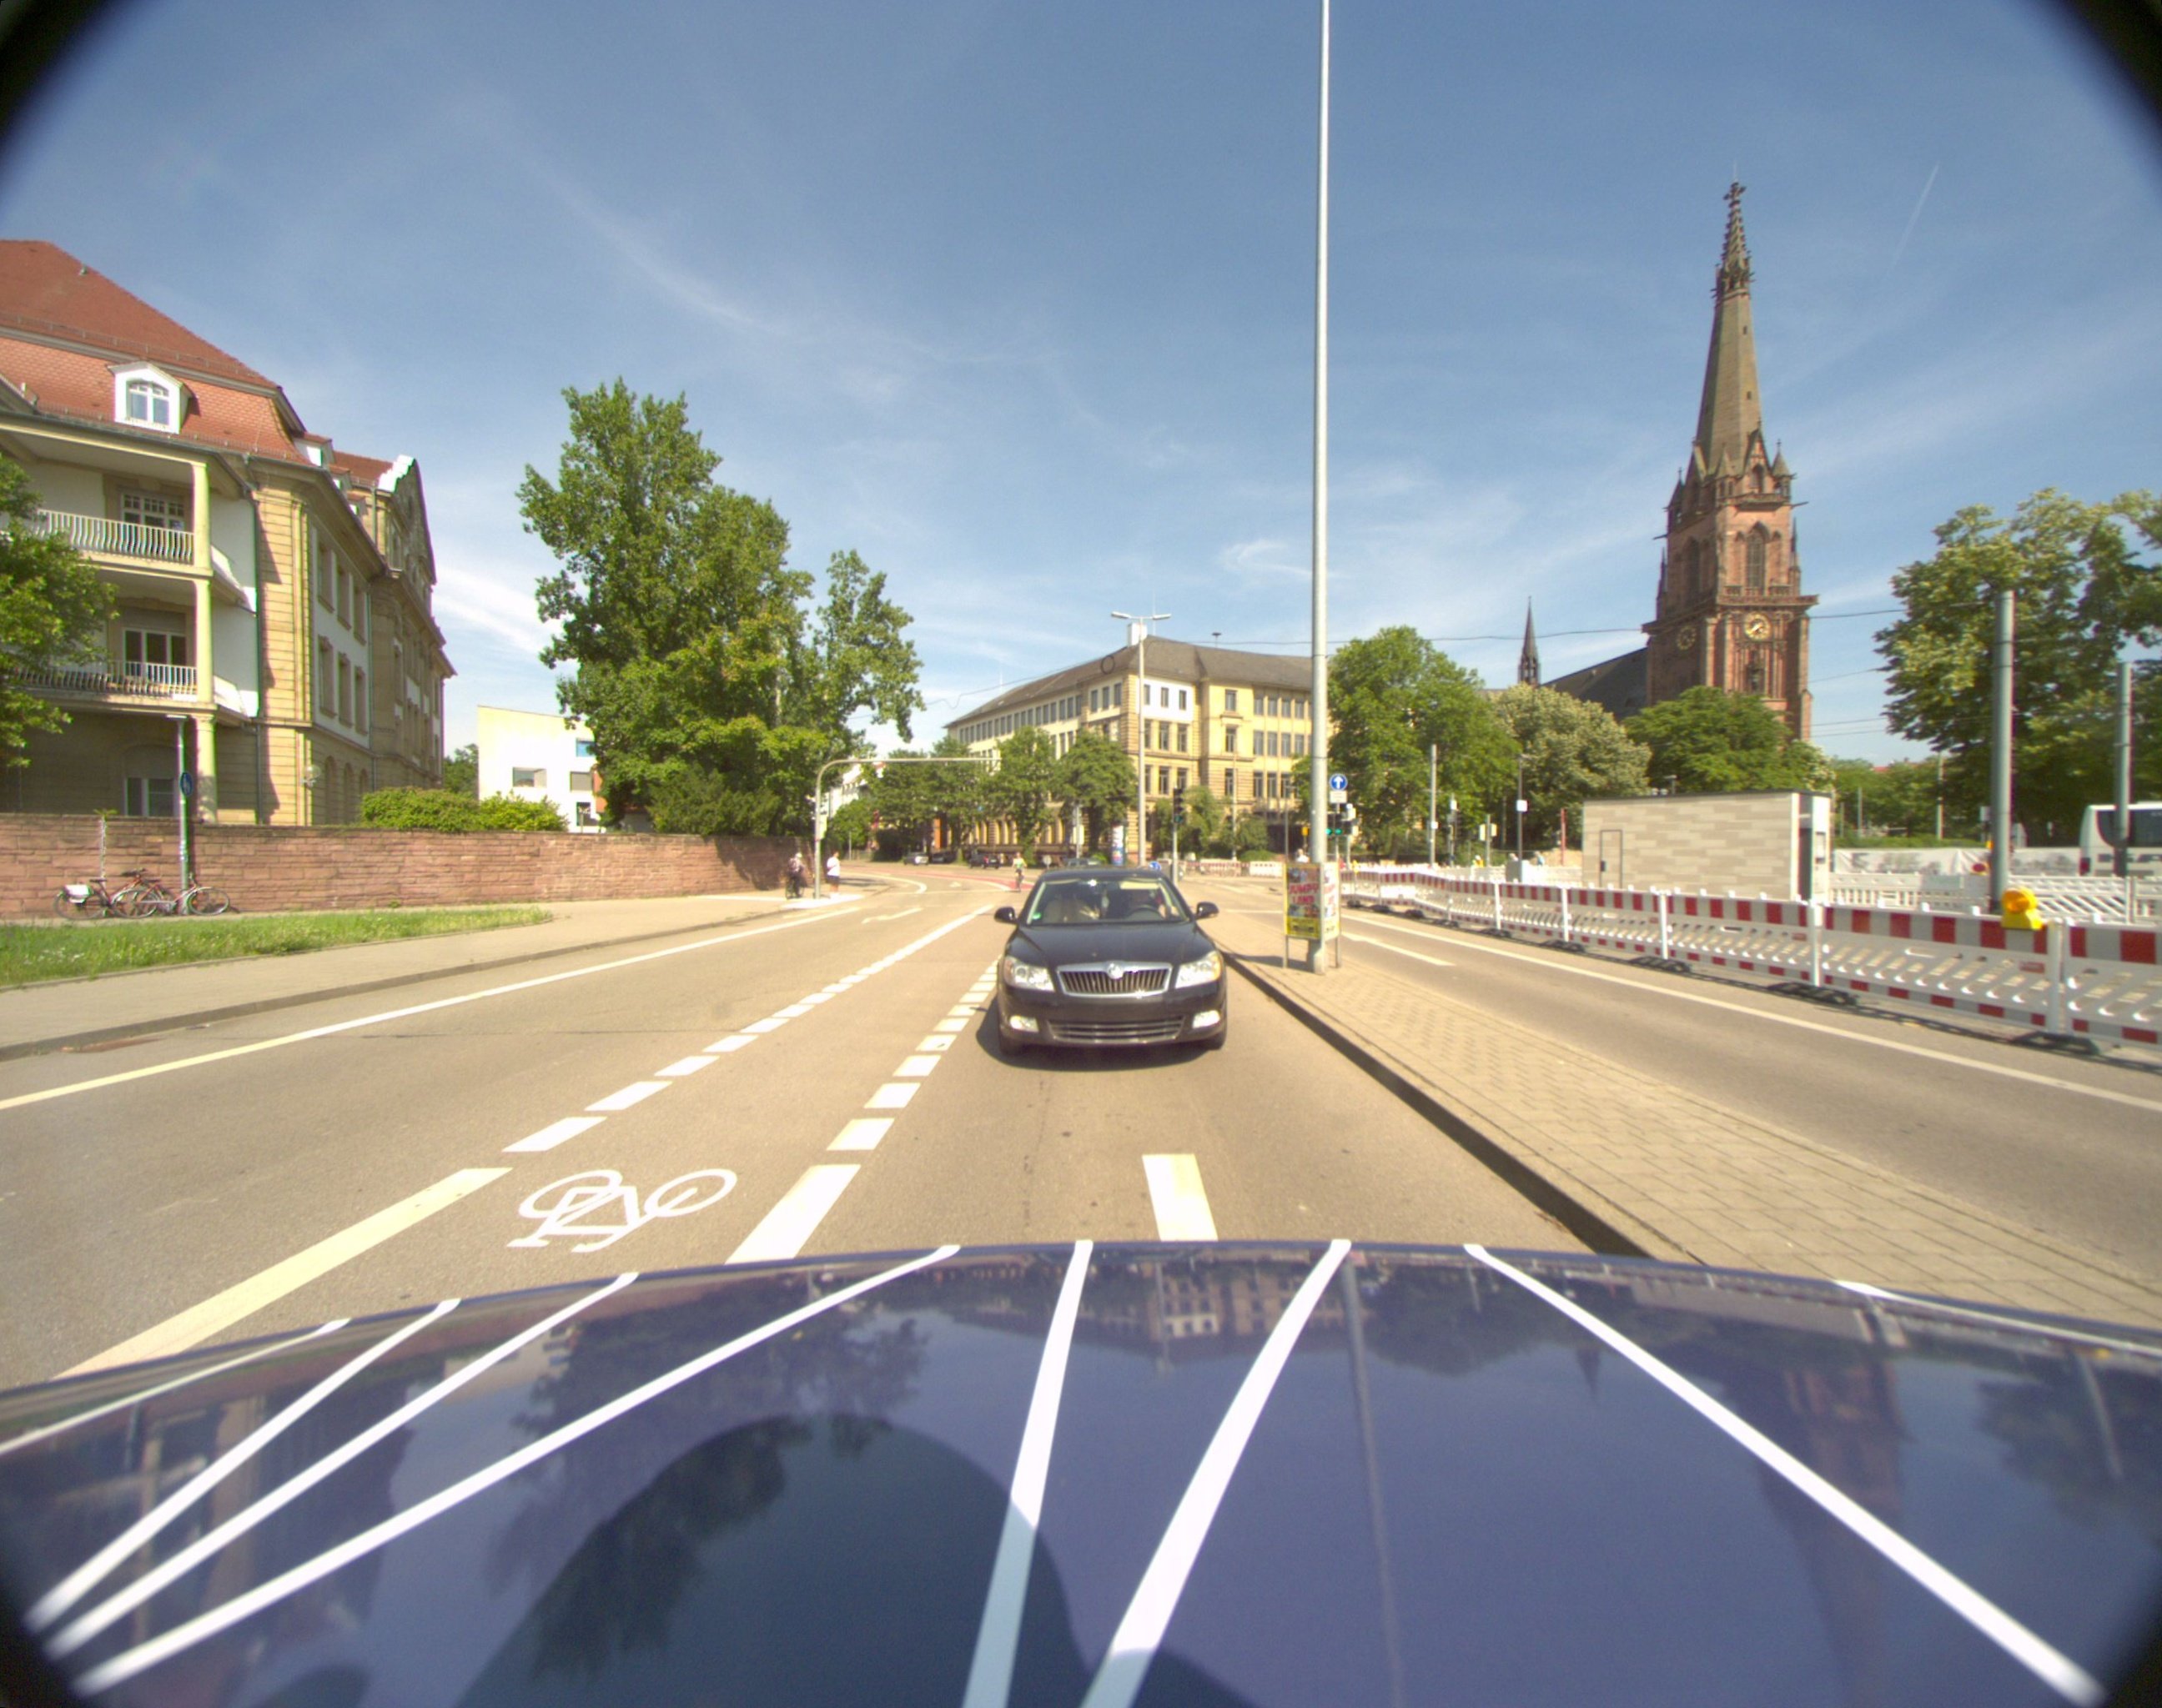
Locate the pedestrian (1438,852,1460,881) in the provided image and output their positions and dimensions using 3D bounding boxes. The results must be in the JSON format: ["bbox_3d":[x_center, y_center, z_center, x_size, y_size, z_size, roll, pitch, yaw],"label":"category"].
[{"bbox_3d":[21.521,0.734,44.417,0.939,1.646,0.845,0,1,9],"label":"pedestrian"}]

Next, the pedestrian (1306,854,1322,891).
[{"bbox_3d":[9.972,0.779,32.531,0.422,1.534,0.669,-2,1,36],"label":"pedestrian"}]

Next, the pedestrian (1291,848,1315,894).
[{"bbox_3d":[8.860,0.667,30.329,0.839,1.802,0.650,0,1,24],"label":"pedestrian"}]

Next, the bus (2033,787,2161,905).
[{"bbox_3d":[35.379,-0.205,19.999,2.867,3.469,12.624,0,1,-34],"label":"bus"}]

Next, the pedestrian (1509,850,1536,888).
[{"bbox_3d":[19.268,0.645,33.154,0.662,1.606,0.793,-1,0,-15],"label":"pedestrian"}]

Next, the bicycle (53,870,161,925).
[{"bbox_3d":[-21.487,0.937,16.791,0.348,1.116,1.437,1,1,15],"label":"bicycle"}]

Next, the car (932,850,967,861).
[{"bbox_3d":[-16.937,0.201,98.128,4.008,1.455,1.994,0,1,-35],"label":"car"}]

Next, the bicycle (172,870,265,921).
[{"bbox_3d":[-20.499,0.964,18.084,0.348,1.116,1.438,1,1,35],"label":"bicycle"}]

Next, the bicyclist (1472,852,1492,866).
[{"bbox_3d":[25.287,0.308,47.910,0.684,0.922,0.867,-1,1,-38],"label":"bicyclist"}]

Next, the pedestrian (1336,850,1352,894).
[{"bbox_3d":[9.799,0.669,28.307,0.350,1.606,0.686,0,1,2],"label":"pedestrian"}]

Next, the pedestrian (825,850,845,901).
[{"bbox_3d":[-9.221,0.801,28.516,0.654,1.863,0.795,2,1,-18],"label":"pedestrian"}]

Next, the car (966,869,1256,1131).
[{"bbox_3d":[0.073,0.985,7.299,1.864,1.510,4.825,0,1,-3],"label":"car"}]

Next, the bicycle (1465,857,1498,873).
[{"bbox_3d":[25.268,0.677,47.959,0.703,0.941,1.661,-1,1,-39],"label":"bicycle"}]

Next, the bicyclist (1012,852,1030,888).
[{"bbox_3d":[-2.614,0.700,33.243,0.588,1.539,0.930,-2,2,-13],"label":"bicyclist"}]

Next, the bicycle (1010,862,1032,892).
[{"bbox_3d":[-2.634,0.976,33.308,0.686,1.215,2.184,0,1,-12],"label":"bicycle"}]

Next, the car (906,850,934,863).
[{"bbox_3d":[-18.377,0.253,86.649,1.803,1.403,3.989,1,1,-34],"label":"car"}]

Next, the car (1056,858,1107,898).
[{"bbox_3d":[-0.009,0.874,29.727,1.802,1.368,4.275,-1,1,-1],"label":"car"}]

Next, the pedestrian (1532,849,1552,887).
[{"bbox_3d":[20.142,0.601,33.200,0.584,1.606,0.691,0,1,45],"label":"pedestrian"}]

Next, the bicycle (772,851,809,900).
[{"bbox_3d":[-10.789,0.783,28.258,0.680,1.755,1.811,1,1,1],"label":"bicycle"}]

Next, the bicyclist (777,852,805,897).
[{"bbox_3d":[-10.783,0.756,28.292,0.680,1.646,0.919,1,1,1],"label":"bicyclist"}]

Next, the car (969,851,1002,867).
[{"bbox_3d":[-9.139,0.489,72.612,1.675,1.442,3.807,1,1,-33],"label":"car"}]
